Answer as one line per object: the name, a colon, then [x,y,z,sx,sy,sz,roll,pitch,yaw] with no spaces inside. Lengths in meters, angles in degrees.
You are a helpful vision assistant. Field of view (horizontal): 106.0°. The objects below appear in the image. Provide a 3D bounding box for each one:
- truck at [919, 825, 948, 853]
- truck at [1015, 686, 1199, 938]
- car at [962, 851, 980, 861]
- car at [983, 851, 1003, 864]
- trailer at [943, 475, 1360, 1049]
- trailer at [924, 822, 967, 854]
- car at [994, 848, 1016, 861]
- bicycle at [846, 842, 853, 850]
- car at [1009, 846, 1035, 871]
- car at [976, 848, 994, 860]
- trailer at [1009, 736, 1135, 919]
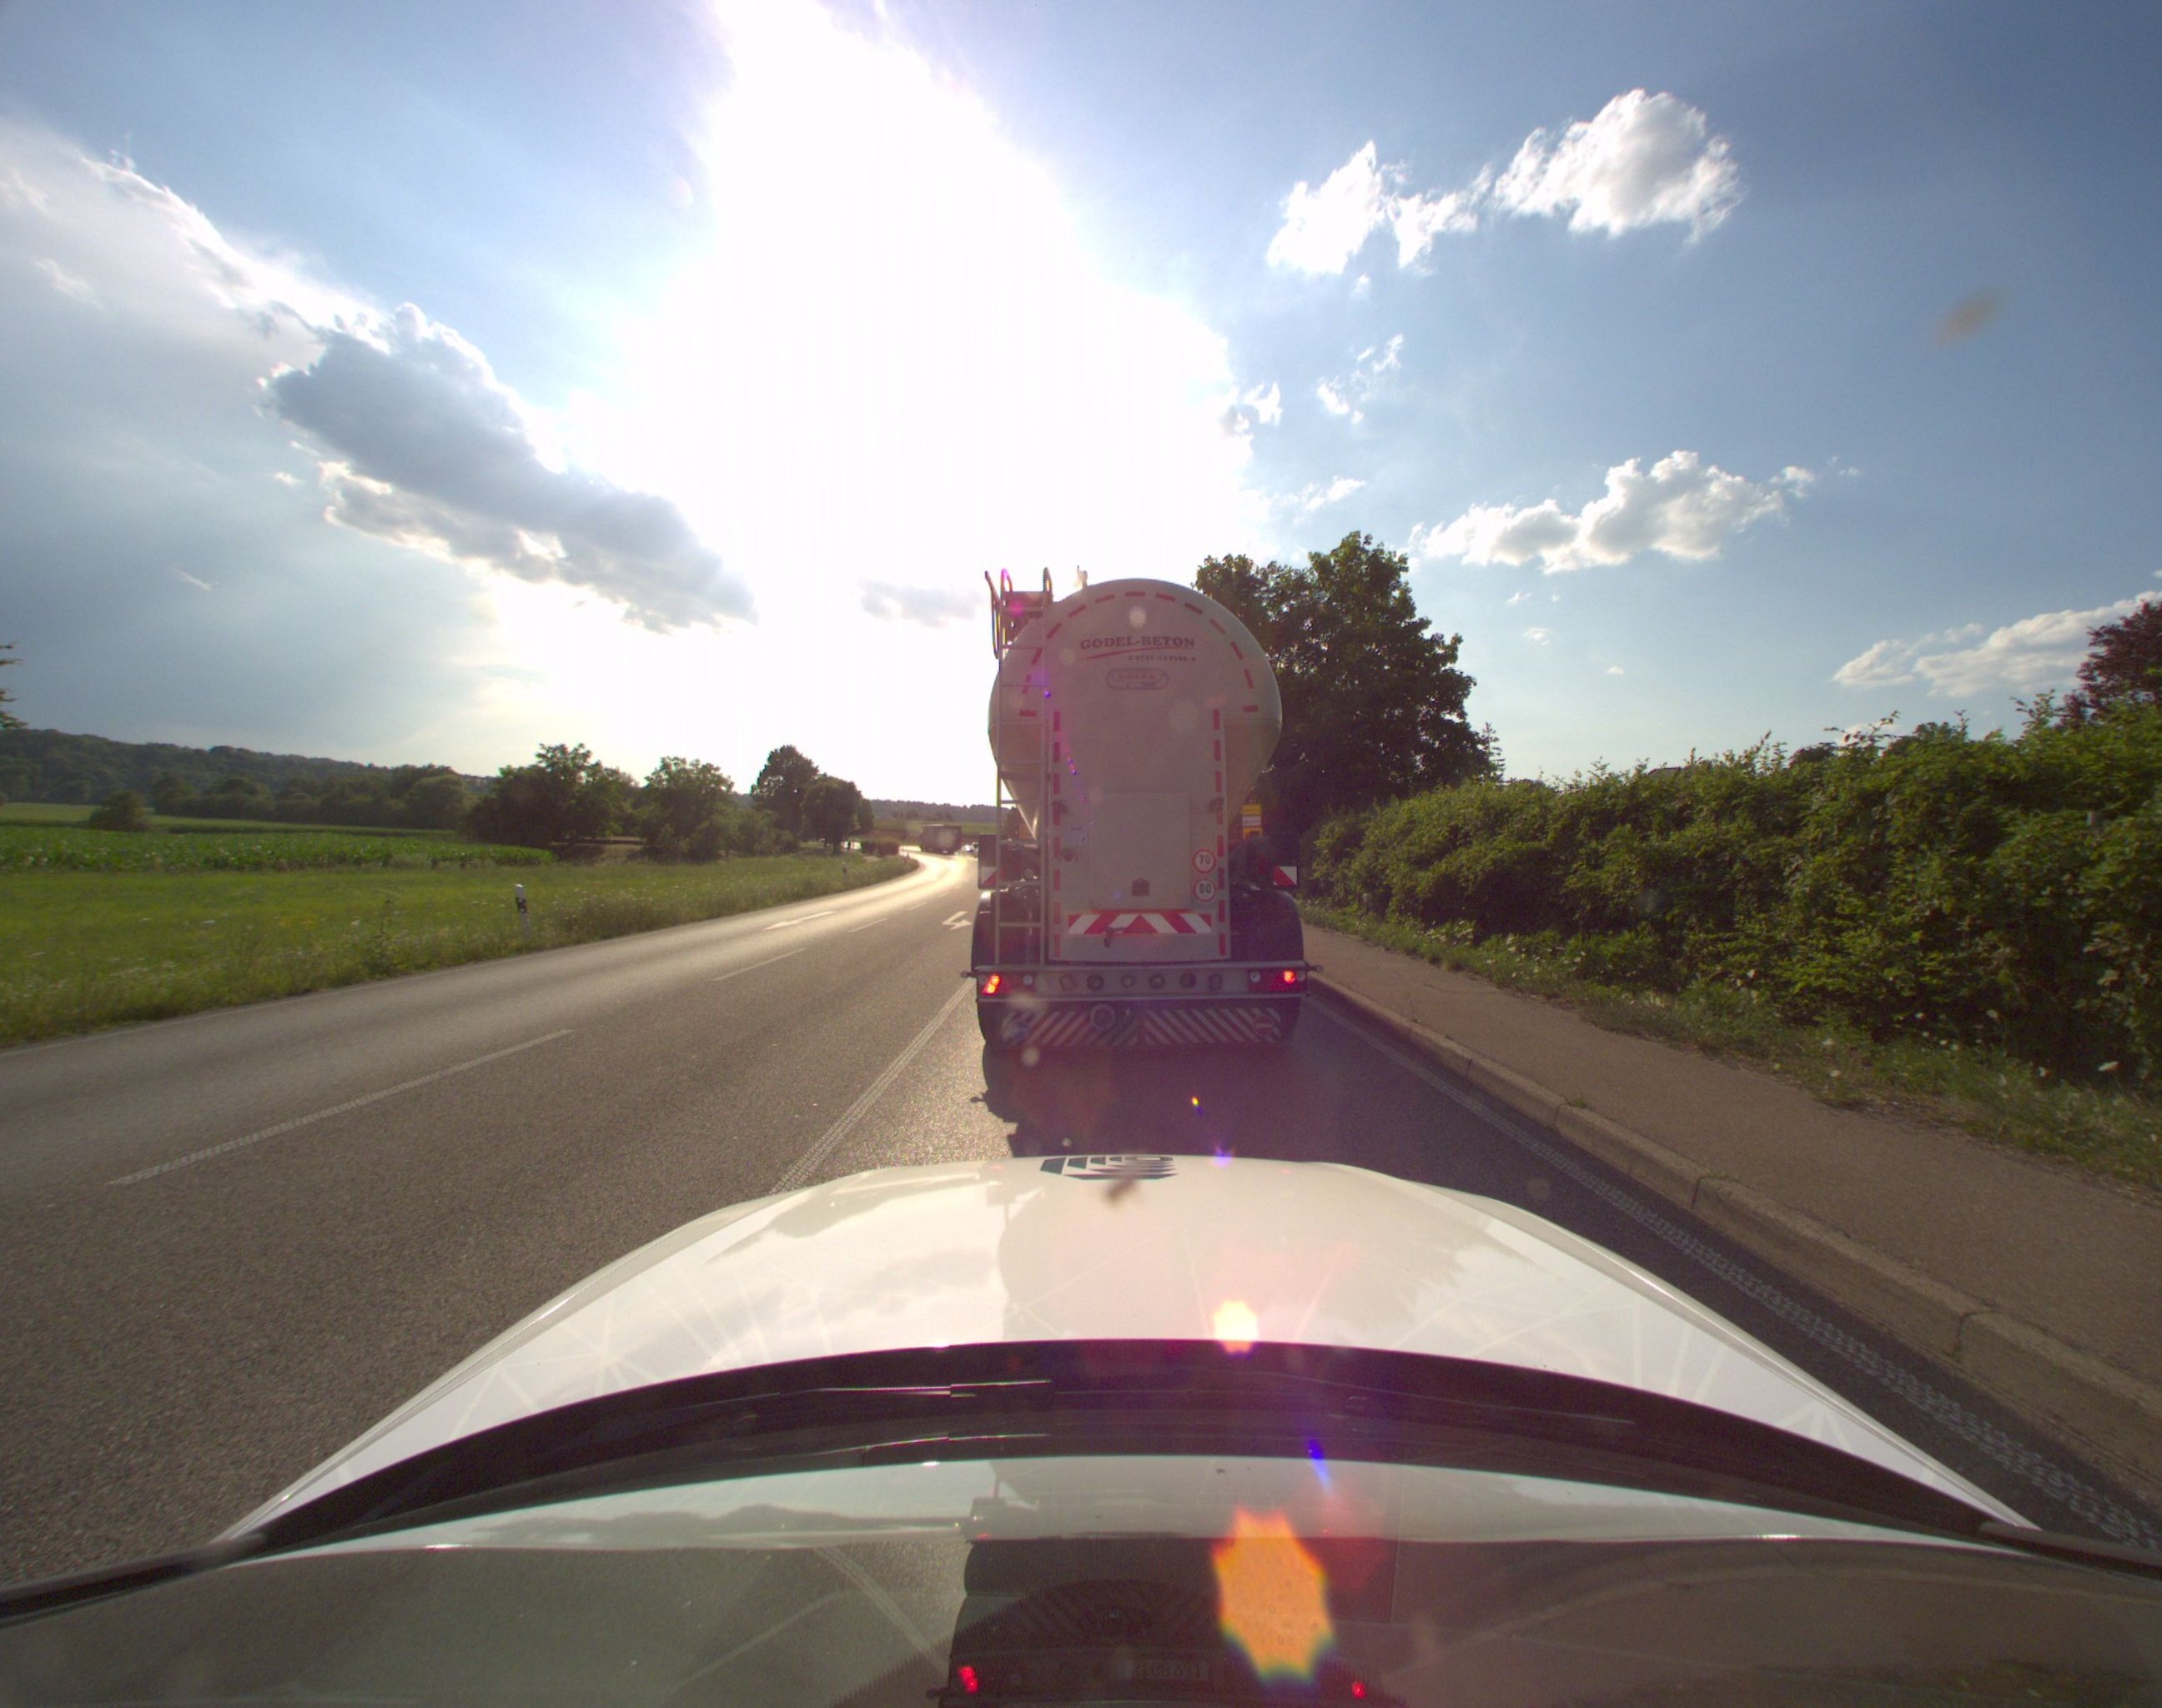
truck: [-23.177,-2.310,128.008,3.388,4.350,5.665,1,0,-21]
truck: [0.379,-0.675,15.011,2.901,4.006,4.057,0,0,-2]
car: [-13.847,0.267,102.586,1.773,1.206,3.407,1,0,-16]
car: [-9.557,0.325,88.064,1.583,1.341,3.407,1,0,-16]
trailer: [0.444,-0.653,10.675,2.901,4.006,9.926,0,0,-1]
trailer: [-20.191,-2.248,120.284,3.388,4.350,14.192,1,0,-21]
car: [-7.690,0.048,81.863,1.583,1.341,3.407,1,0,-16]
bicycle: [-33.217,-1.128,116.874,0.634,1.074,1.667,2,0,-6]
car: [-4.932,0.343,67.496,1.861,2.013,3.708,0,0,-9]
car: [-11.314,0.007,96.233,1.583,1.341,3.407,1,0,-16]
trailer: [0.038,-0.645,26.410,2.943,4.315,14.182,1,0,2]
